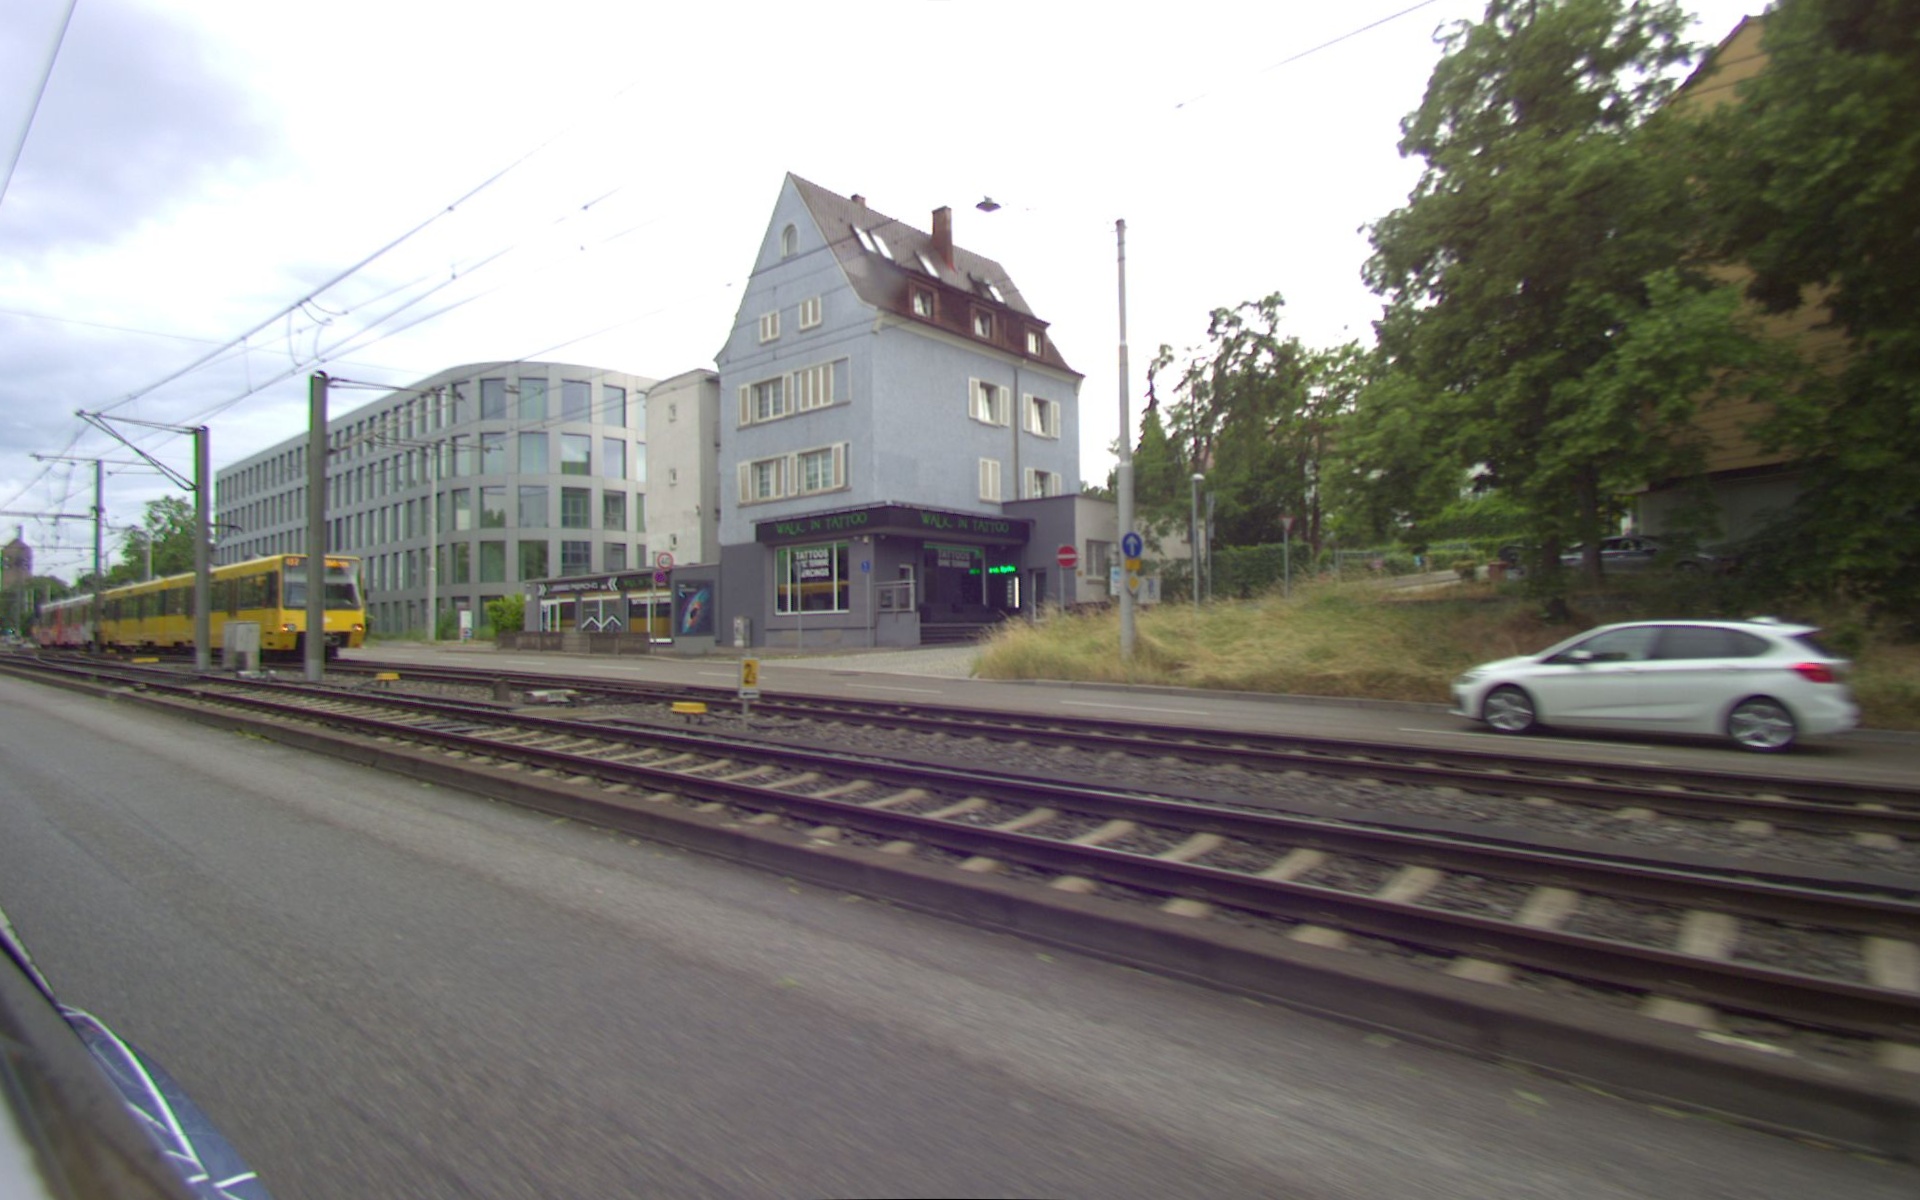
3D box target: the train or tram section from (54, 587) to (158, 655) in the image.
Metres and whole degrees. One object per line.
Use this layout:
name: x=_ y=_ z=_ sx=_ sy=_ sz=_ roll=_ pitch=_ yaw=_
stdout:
train or tram section: x=-54.784 y=1.476 z=64.609 sx=18.613 sy=3.840 sz=2.935 roll=-2 pitch=-2 yaw=43

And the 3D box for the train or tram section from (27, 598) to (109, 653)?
train or tram section: x=-68.360 y=2.035 z=77.315 sx=18.613 sy=3.840 sz=2.935 roll=-2 pitch=-2 yaw=43

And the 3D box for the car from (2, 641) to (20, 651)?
car: x=-149.824 y=7.261 z=159.747 sx=3.562 sy=1.649 sz=1.788 roll=-3 pitch=-2 yaw=42

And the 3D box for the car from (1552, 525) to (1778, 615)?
car: x=17.641 y=-0.650 z=25.527 sx=1.934 sy=2.029 sz=4.228 roll=0 pitch=-2 yaw=-33

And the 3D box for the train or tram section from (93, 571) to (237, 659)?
train or tram section: x=-41.008 y=0.925 z=51.716 sx=19.097 sy=3.840 sz=2.935 roll=-2 pitch=-2 yaw=43

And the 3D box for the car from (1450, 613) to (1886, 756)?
car: x=8.891 y=0.969 z=13.010 sx=4.379 sy=1.541 sz=1.635 roll=-2 pitch=-2 yaw=42

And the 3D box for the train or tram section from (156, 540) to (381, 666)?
train or tram section: x=-26.923 y=0.382 z=38.487 sx=19.519 sy=3.840 sz=2.935 roll=-2 pitch=-2 yaw=43
